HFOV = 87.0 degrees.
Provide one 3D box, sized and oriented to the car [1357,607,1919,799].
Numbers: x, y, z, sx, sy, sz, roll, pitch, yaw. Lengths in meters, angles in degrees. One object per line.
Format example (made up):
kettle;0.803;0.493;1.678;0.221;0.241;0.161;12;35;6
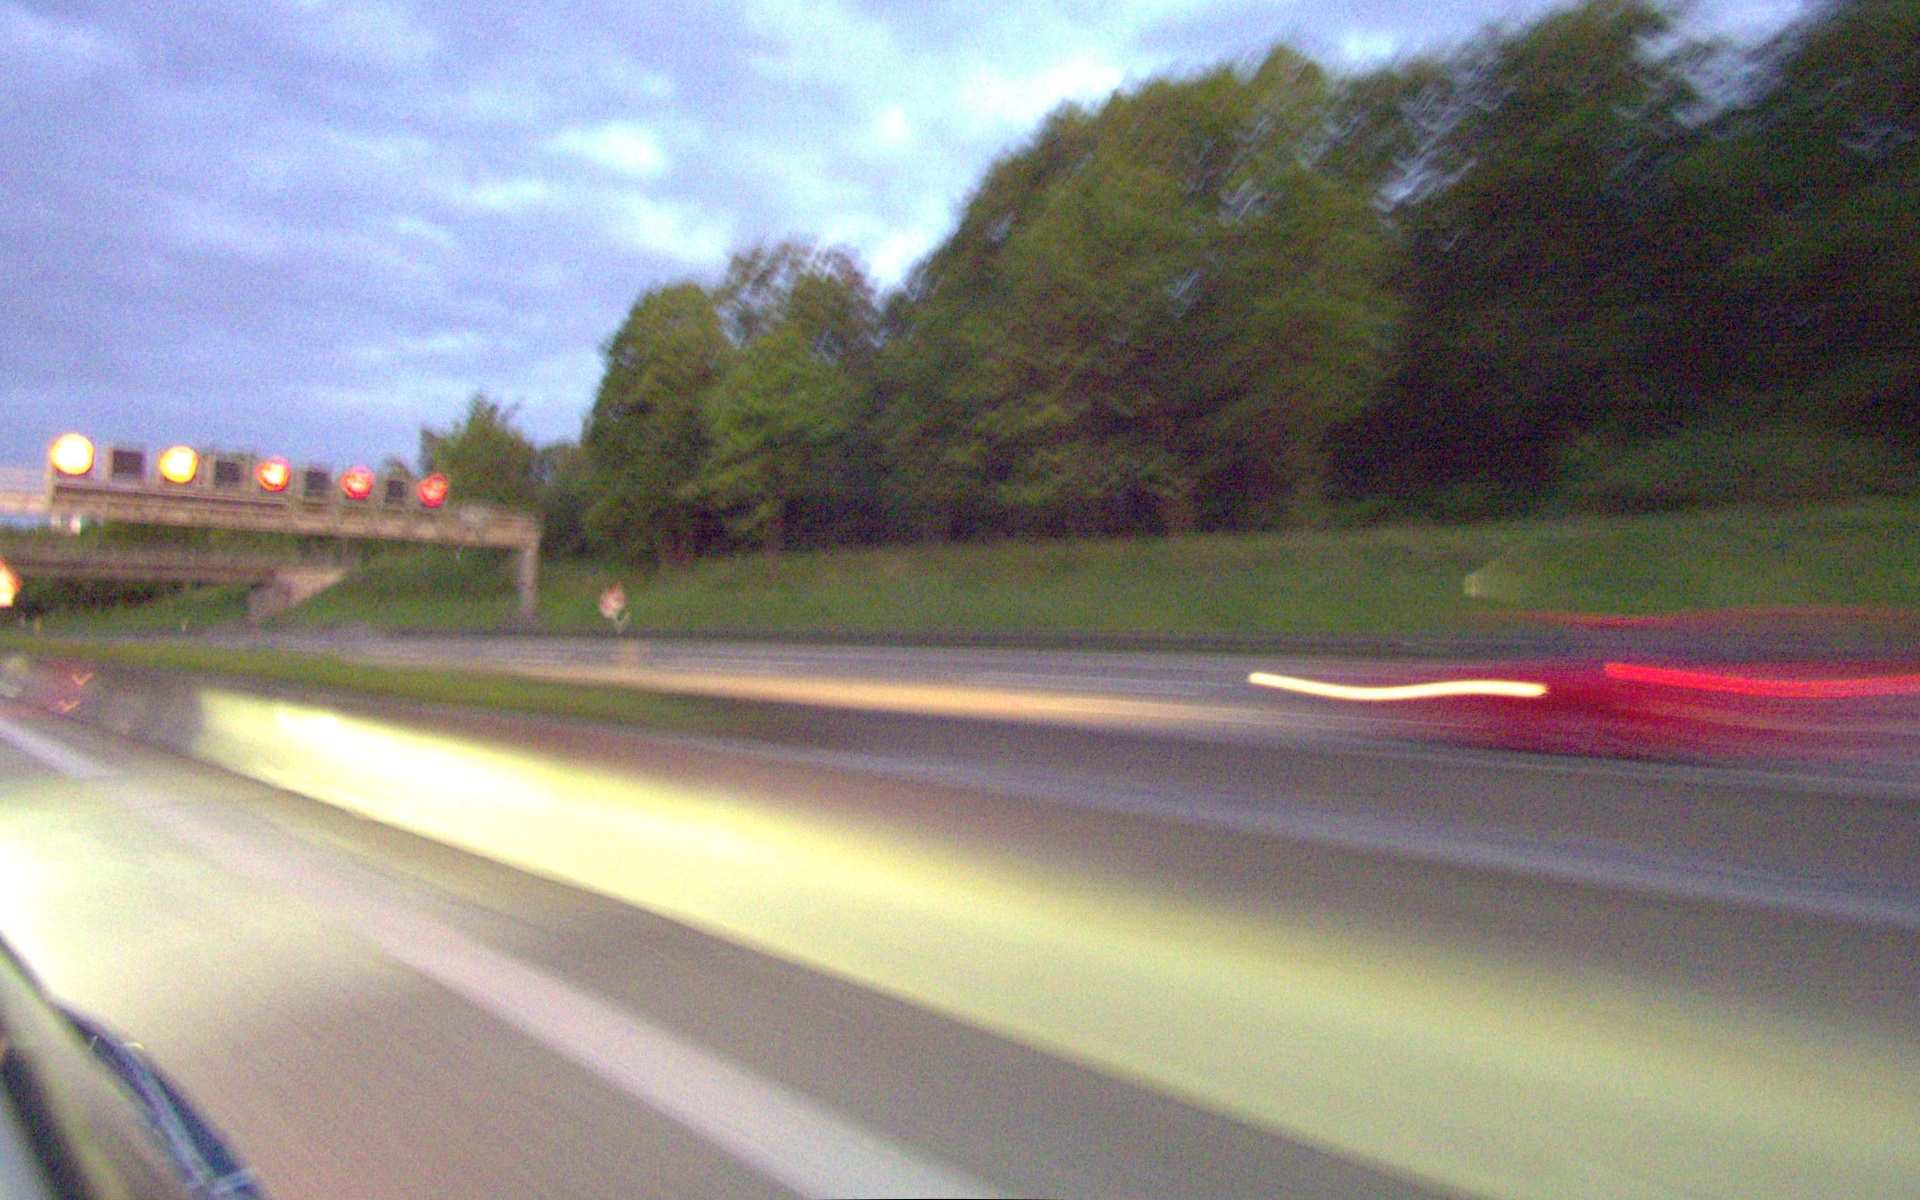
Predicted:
car;6.169;0.795;9.441;4.313;1.416;1.602;-1;-1;41
